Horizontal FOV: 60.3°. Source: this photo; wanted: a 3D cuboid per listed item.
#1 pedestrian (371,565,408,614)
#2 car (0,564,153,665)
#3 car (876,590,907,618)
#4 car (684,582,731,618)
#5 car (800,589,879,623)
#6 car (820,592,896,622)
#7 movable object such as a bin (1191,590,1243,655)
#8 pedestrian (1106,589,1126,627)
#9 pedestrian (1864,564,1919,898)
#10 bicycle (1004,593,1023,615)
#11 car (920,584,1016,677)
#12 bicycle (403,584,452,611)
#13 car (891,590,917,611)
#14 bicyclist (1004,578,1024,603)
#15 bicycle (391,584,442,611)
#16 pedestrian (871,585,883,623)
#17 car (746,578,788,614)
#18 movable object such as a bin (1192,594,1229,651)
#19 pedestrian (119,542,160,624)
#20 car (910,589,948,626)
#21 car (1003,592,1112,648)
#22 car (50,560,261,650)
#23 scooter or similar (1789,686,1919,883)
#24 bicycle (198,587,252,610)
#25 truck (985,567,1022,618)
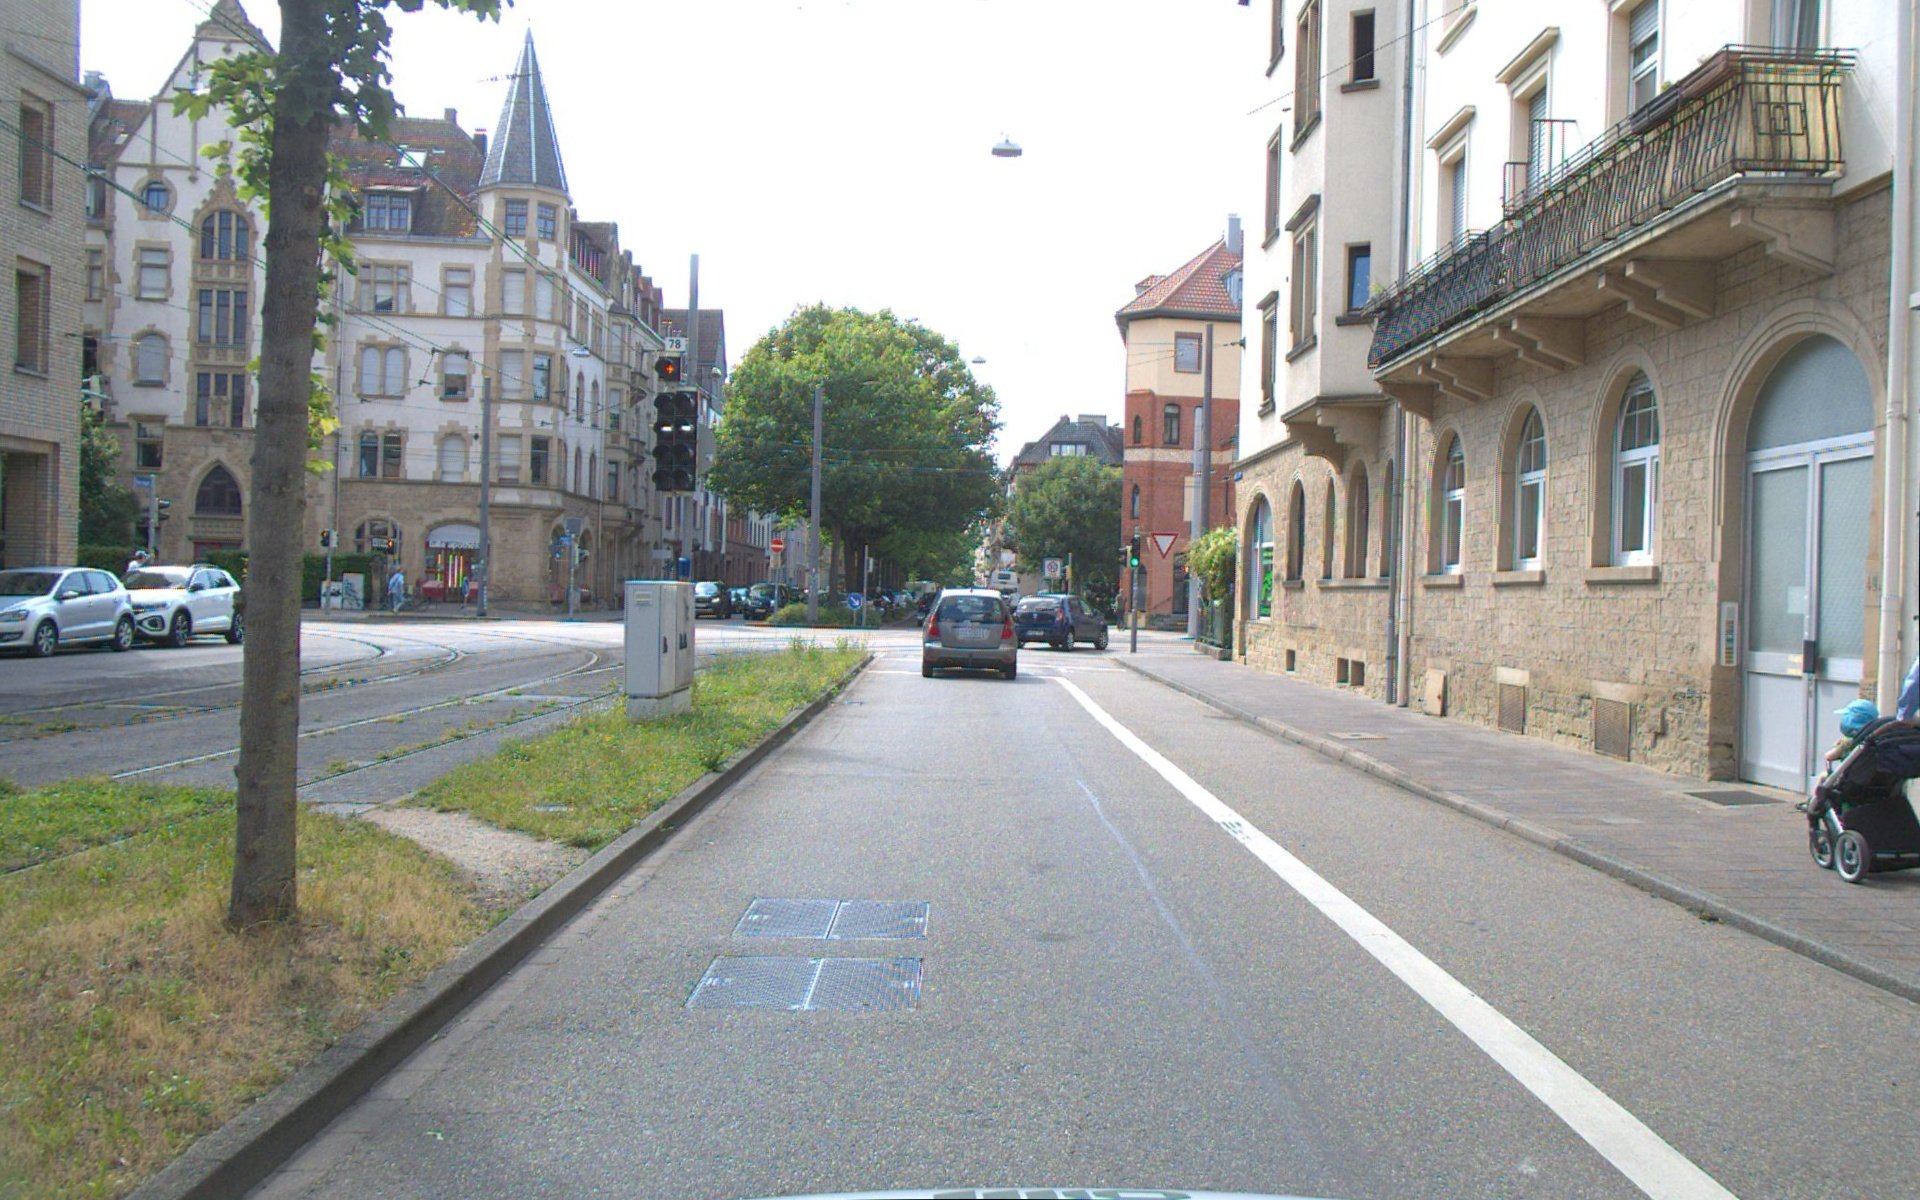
[{"bbox_3d":[-20.802,-0.396,60.346,1.016,1.752,0.763,2,0,-44],"label":"pedestrian"},{"bbox_3d":[-15.428,0.193,27.551,1.893,1.557,4.015,1,0,1],"label":"car"},{"bbox_3d":[-4.353,0.252,105.398,1.716,1.661,3.499,2,0,0],"label":"car"},{"bbox_3d":[-12.277,-0.003,80.571,1.955,1.646,3.996,1,0,-5],"label":"car"},{"bbox_3d":[-5.934,0.272,80.939,1.955,1.521,3.944,2,0,-39],"label":"car"},{"bbox_3d":[-5.176,0.354,83.557,1.955,1.362,3.944,2,0,-39],"label":"car"},{"bbox_3d":[6.476,0.551,41.805,1.028,1.566,2.100,1,0,2],"label":"movable object such as a bin"},{"bbox_3d":[6.995,0.351,74.243,0.850,1.685,0.737,2,0,4],"label":"pedestrian"},{"bbox_3d":[5.386,0.690,8.848,0.608,1.769,0.877,-1,0,1],"label":"pedestrian"},{"bbox_3d":[2.399,0.184,73.930,0.733,0.975,2.300,1,0,4],"label":"bicycle"},{"bbox_3d":[0.171,0.537,31.146,1.687,1.633,3.677,1,0,1],"label":"car"},{"bbox_3d":[-22.879,-0.104,71.085,1.881,1.100,0.777,1,0,-11],"label":"bicycle"},{"bbox_3d":[-4.251,0.054,126.014,1.716,1.543,3.499,2,0,0],"label":"car"},{"bbox_3d":[2.408,-0.439,73.804,0.818,1.101,1.401,1,0,4],"label":"bicyclist"},{"bbox_3d":[-22.562,-0.095,68.706,1.881,1.100,0.777,1,0,-11],"label":"bicycle"},{"bbox_3d":[-3.949,0.184,78.642,0.483,1.755,0.653,2,0,-3],"label":"pedestrian"},{"bbox_3d":[-9.589,-0.201,82.277,1.955,1.758,3.996,1,0,-5],"label":"car"},{"bbox_3d":[6.670,0.602,44.125,0.701,1.497,0.980,1,0,-9],"label":"movable object such as a bin"},{"bbox_3d":[-18.574,-0.382,37.442,0.750,1.827,0.952,2,0,-25],"label":"pedestrian"},{"bbox_3d":[-1.478,0.352,79.587,1.687,1.736,3.677,1,0,1],"label":"car"},{"bbox_3d":[2.822,0.544,47.056,1.939,1.467,4.000,2,0,22],"label":"car"},{"bbox_3d":[-15.404,0.079,31.948,1.893,1.561,4.258,1,0,1],"label":"car"},{"bbox_3d":[5.364,1.048,9.639,0.580,1.019,0.906,-3,0,1],"label":"scooter or similar"},{"bbox_3d":[-29.085,-0.061,65.454,1.881,0.863,0.469,1,0,-11],"label":"bicycle"},{"bbox_3d":[2.717,-0.458,101.738,2.078,3.022,4.002,1,0,4],"label":"truck"}]
